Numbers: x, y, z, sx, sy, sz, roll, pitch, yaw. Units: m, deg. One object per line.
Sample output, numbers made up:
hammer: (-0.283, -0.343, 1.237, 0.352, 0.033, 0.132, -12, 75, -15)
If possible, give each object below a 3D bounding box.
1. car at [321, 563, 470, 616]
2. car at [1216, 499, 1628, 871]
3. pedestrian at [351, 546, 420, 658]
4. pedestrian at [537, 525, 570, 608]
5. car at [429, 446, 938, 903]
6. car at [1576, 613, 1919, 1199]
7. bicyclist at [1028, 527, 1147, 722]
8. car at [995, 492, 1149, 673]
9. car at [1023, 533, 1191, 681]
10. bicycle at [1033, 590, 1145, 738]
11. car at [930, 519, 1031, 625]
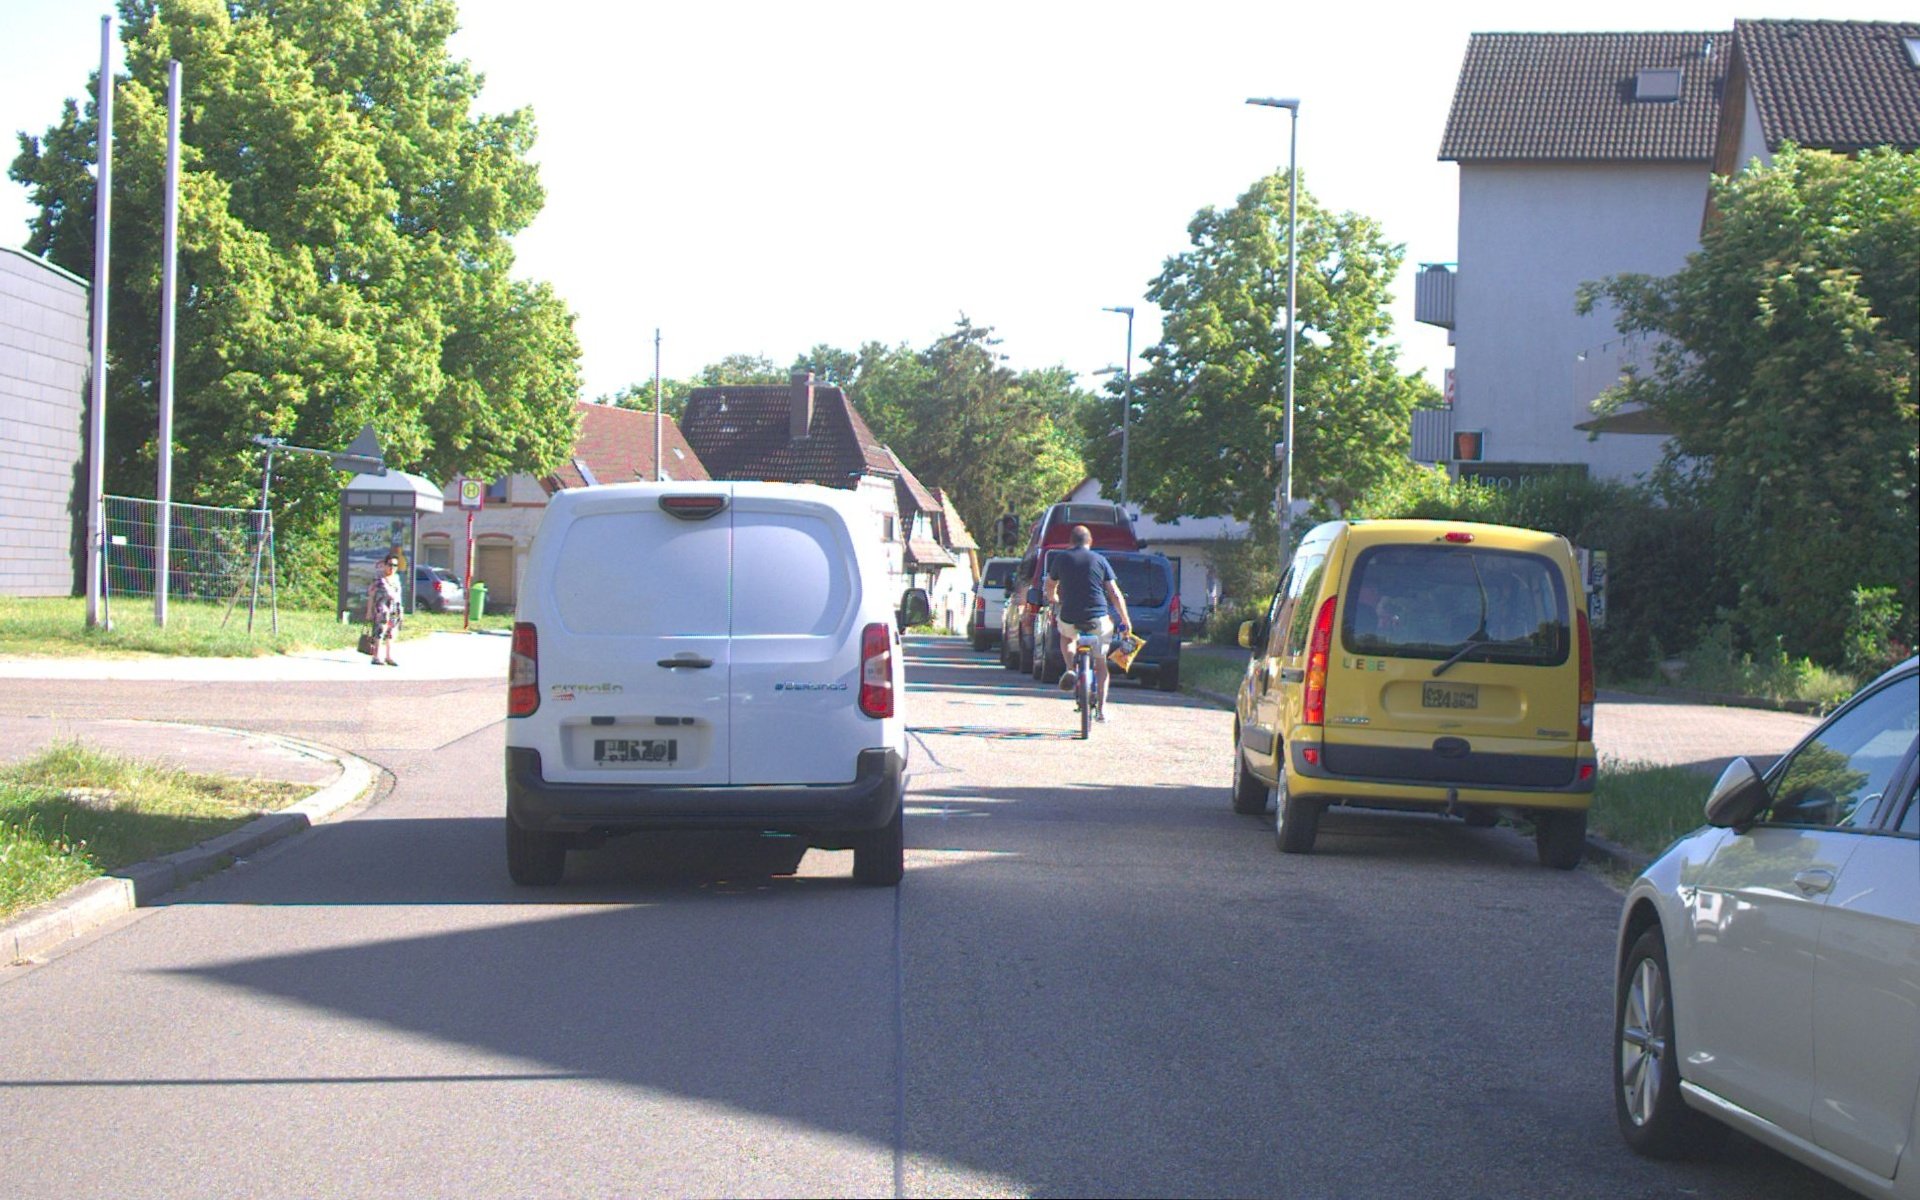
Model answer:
car: (-16.738, -0.319, 101.939, 3.980, 1.424, 1.714, 2, 0, 17)
car: (2.497, 0.413, 19.479, 1.724, 1.831, 4.000, 2, 1, 0)
pedestrian: (-7.700, 0.033, 46.109, 0.510, 1.441, 0.638, 5, 1, 32)
pedestrian: (-8.947, -0.724, 75.685, 0.621, 1.799, 0.640, 2, -1, -2)
car: (-1.196, 0.283, 16.798, 1.993, 1.875, 4.289, 2, 1, 1)
car: (2.740, 0.814, 7.629, 1.826, 1.447, 4.000, 2, 1, -2)
bicyclist: (1.065, 0.202, 28.966, 0.905, 1.579, 0.966, 2, 0, 0)
car: (1.674, -0.263, 53.151, 1.866, 2.553, 4.768, 4, 0, -2)
car: (1.921, 0.092, 46.048, 1.804, 1.779, 4.000, 4, 0, -2)
bicycle: (1.067, 0.515, 29.008, 0.787, 1.135, 2.280, 4, 1, 0)
car: (0.412, -0.573, 72.366, 1.804, 2.061, 4.000, 4, 0, -2)
